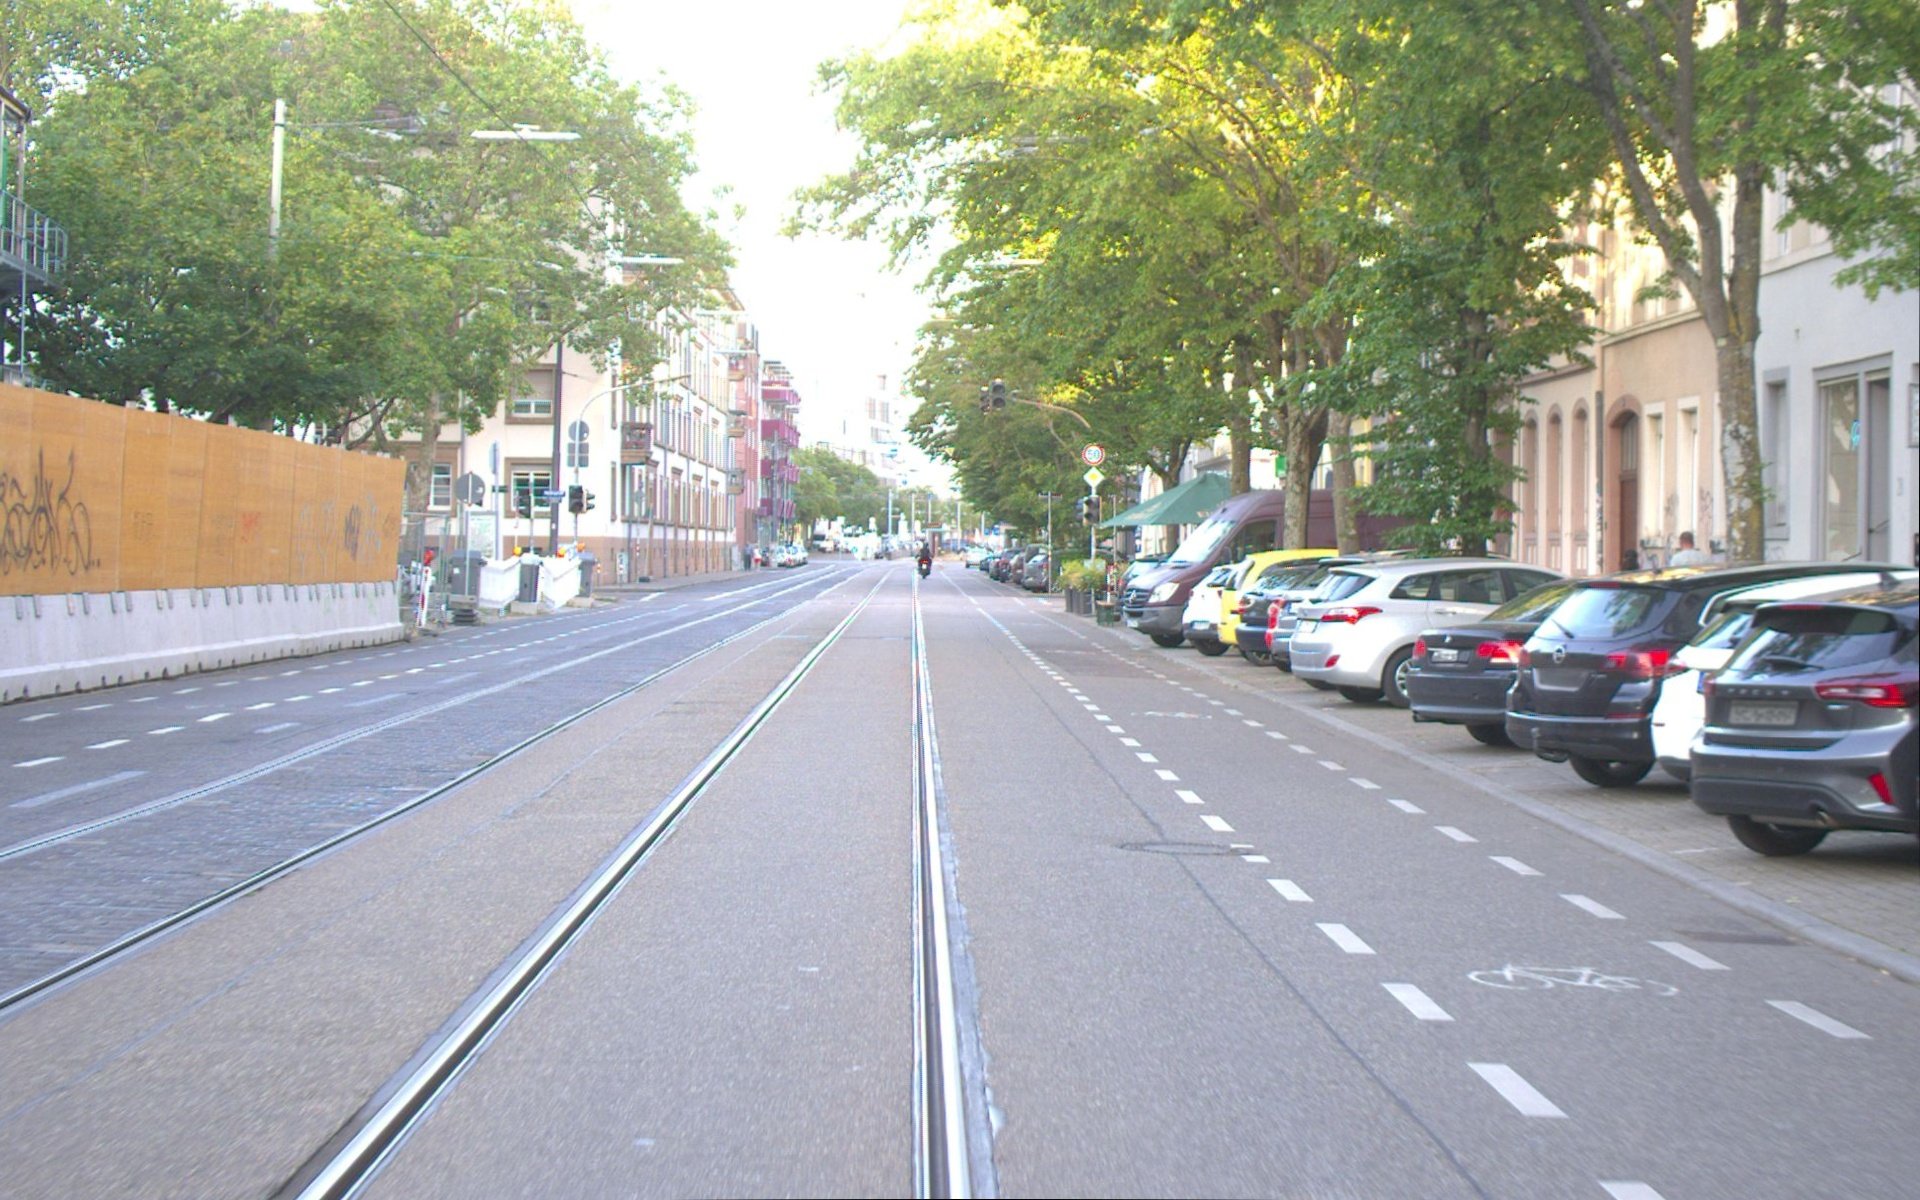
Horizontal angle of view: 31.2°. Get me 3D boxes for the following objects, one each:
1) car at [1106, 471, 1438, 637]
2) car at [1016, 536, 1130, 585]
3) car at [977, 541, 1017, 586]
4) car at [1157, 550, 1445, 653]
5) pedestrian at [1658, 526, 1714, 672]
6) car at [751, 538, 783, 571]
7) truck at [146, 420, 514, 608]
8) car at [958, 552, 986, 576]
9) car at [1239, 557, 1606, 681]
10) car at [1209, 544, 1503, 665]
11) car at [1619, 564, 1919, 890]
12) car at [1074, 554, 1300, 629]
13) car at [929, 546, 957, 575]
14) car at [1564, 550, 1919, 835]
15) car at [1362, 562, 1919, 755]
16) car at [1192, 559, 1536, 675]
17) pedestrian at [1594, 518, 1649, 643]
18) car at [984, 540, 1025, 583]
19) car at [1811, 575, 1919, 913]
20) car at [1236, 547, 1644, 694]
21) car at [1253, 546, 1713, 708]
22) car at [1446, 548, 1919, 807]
[{"bbox_3d":[5.205,-0.775,57.536,5.093,2.633,2.022,-1,1,-17],"label":"car"},{"bbox_3d":[3.914,-1.390,119.880,3.887,1.587,1.861,2,1,1],"label":"car"},{"bbox_3d":[1.686,-1.682,158.235,1.721,2.007,4.000,1,1,-1],"label":"car"},{"bbox_3d":[5.232,0.022,52.814,3.949,1.481,1.921,-1,0,-24],"label":"car"},{"bbox_3d":[9.062,-0.021,42.913,0.565,1.808,0.607,0,1,2],"label":"pedestrian"},{"bbox_3d":[-12.907,-3.025,229.779,1.898,2.171,4.000,1,1,-1],"label":"car"},{"bbox_3d":[-12.855,-1.761,70.627,7.056,3.469,2.542,3,1,-4],"label":"truck"},{"bbox_3d":[0.899,-2.705,255.449,1.963,1.713,4.000,1,1,-1],"label":"car"},{"bbox_3d":[5.725,0.218,42.529,4.120,1.420,1.898,-1,0,-26],"label":"car"},{"bbox_3d":[5.611,0.056,49.042,3.950,1.614,1.921,-1,0,0],"label":"car"},{"bbox_3d":[5.701,0.537,17.879,4.115,1.465,1.824,-3,1,-24],"label":"car"},{"bbox_3d":[4.657,-0.186,70.611,4.174,1.493,2.009,-1,0,-25],"label":"car"},{"bbox_3d":[-1.204,-2.807,244.678,1.898,2.007,4.000,1,1,-1],"label":"car"},{"bbox_3d":[5.926,0.453,20.562,4.115,1.465,1.987,-3,1,-25],"label":"car"},{"bbox_3d":[5.596,0.425,27.634,4.249,1.387,2.016,-1,1,-24],"label":"car"},{"bbox_3d":[5.351,0.210,45.564,4.120,1.420,1.921,-1,0,-26],"label":"car"},{"bbox_3d":[8.349,-0.250,43.427,0.538,1.563,0.813,0,1,1],"label":"pedestrian"},{"bbox_3d":[2.117,-1.845,164.970,1.804,2.007,4.000,1,1,-1],"label":"car"},{"bbox_3d":[6.143,0.563,15.531,3.948,1.465,2.002,-3,1,-17],"label":"car"},{"bbox_3d":[5.518,0.217,39.534,4.249,1.555,1.898,-1,0,-23],"label":"car"},{"bbox_3d":[5.369,0.252,35.552,4.249,1.543,2.020,-1,1,-11],"label":"car"},{"bbox_3d":[5.585,0.452,23.091,4.115,1.465,2.016,-3,1,-25],"label":"car"}]
